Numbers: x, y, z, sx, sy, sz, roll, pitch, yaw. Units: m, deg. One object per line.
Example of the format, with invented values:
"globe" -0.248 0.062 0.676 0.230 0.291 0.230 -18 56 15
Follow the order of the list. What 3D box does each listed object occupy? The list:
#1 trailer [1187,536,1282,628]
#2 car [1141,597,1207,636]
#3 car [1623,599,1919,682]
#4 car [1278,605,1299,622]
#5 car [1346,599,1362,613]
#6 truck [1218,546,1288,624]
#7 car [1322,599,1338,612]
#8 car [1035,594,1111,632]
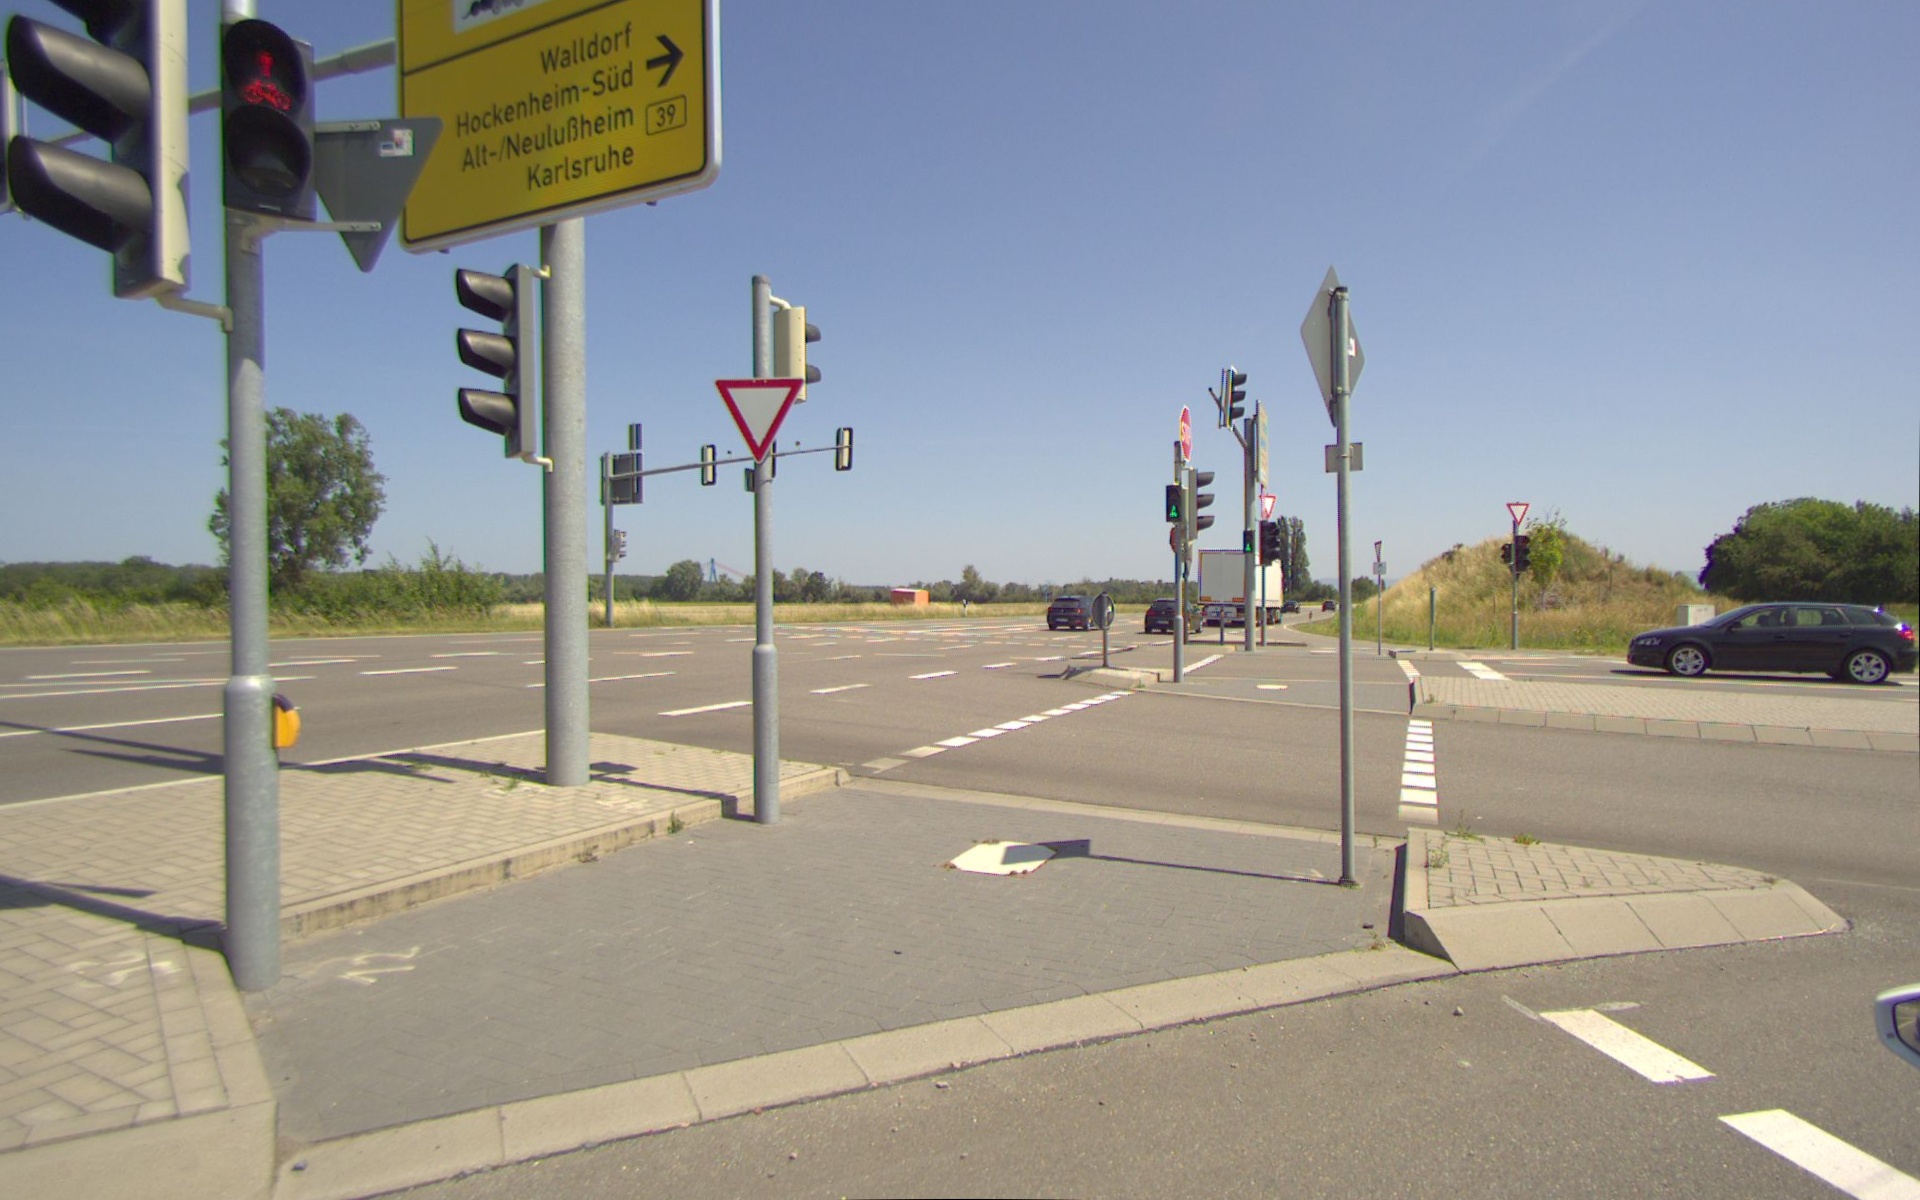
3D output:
"trailer" 15.777 -0.923 56.812 3.327 4.603 12.864 2 0 23
"car" 8.810 0.647 41.131 1.756 1.450 4.377 2 1 24
"car" 14.982 0.702 18.783 4.198 1.387 1.772 0 1 30
"car" 38.868 1.609 118.906 1.948 1.919 4.465 1 0 23
"car" 57.918 0.866 147.585 1.948 1.894 4.465 1 0 23
"truck" 18.474 -0.892 63.096 3.327 4.603 6.368 2 0 24
"car" 53.848 0.777 146.162 1.911 1.792 4.465 1 0 23
"car" 4.842 0.559 42.337 1.859 1.466 4.522 1 0 24
